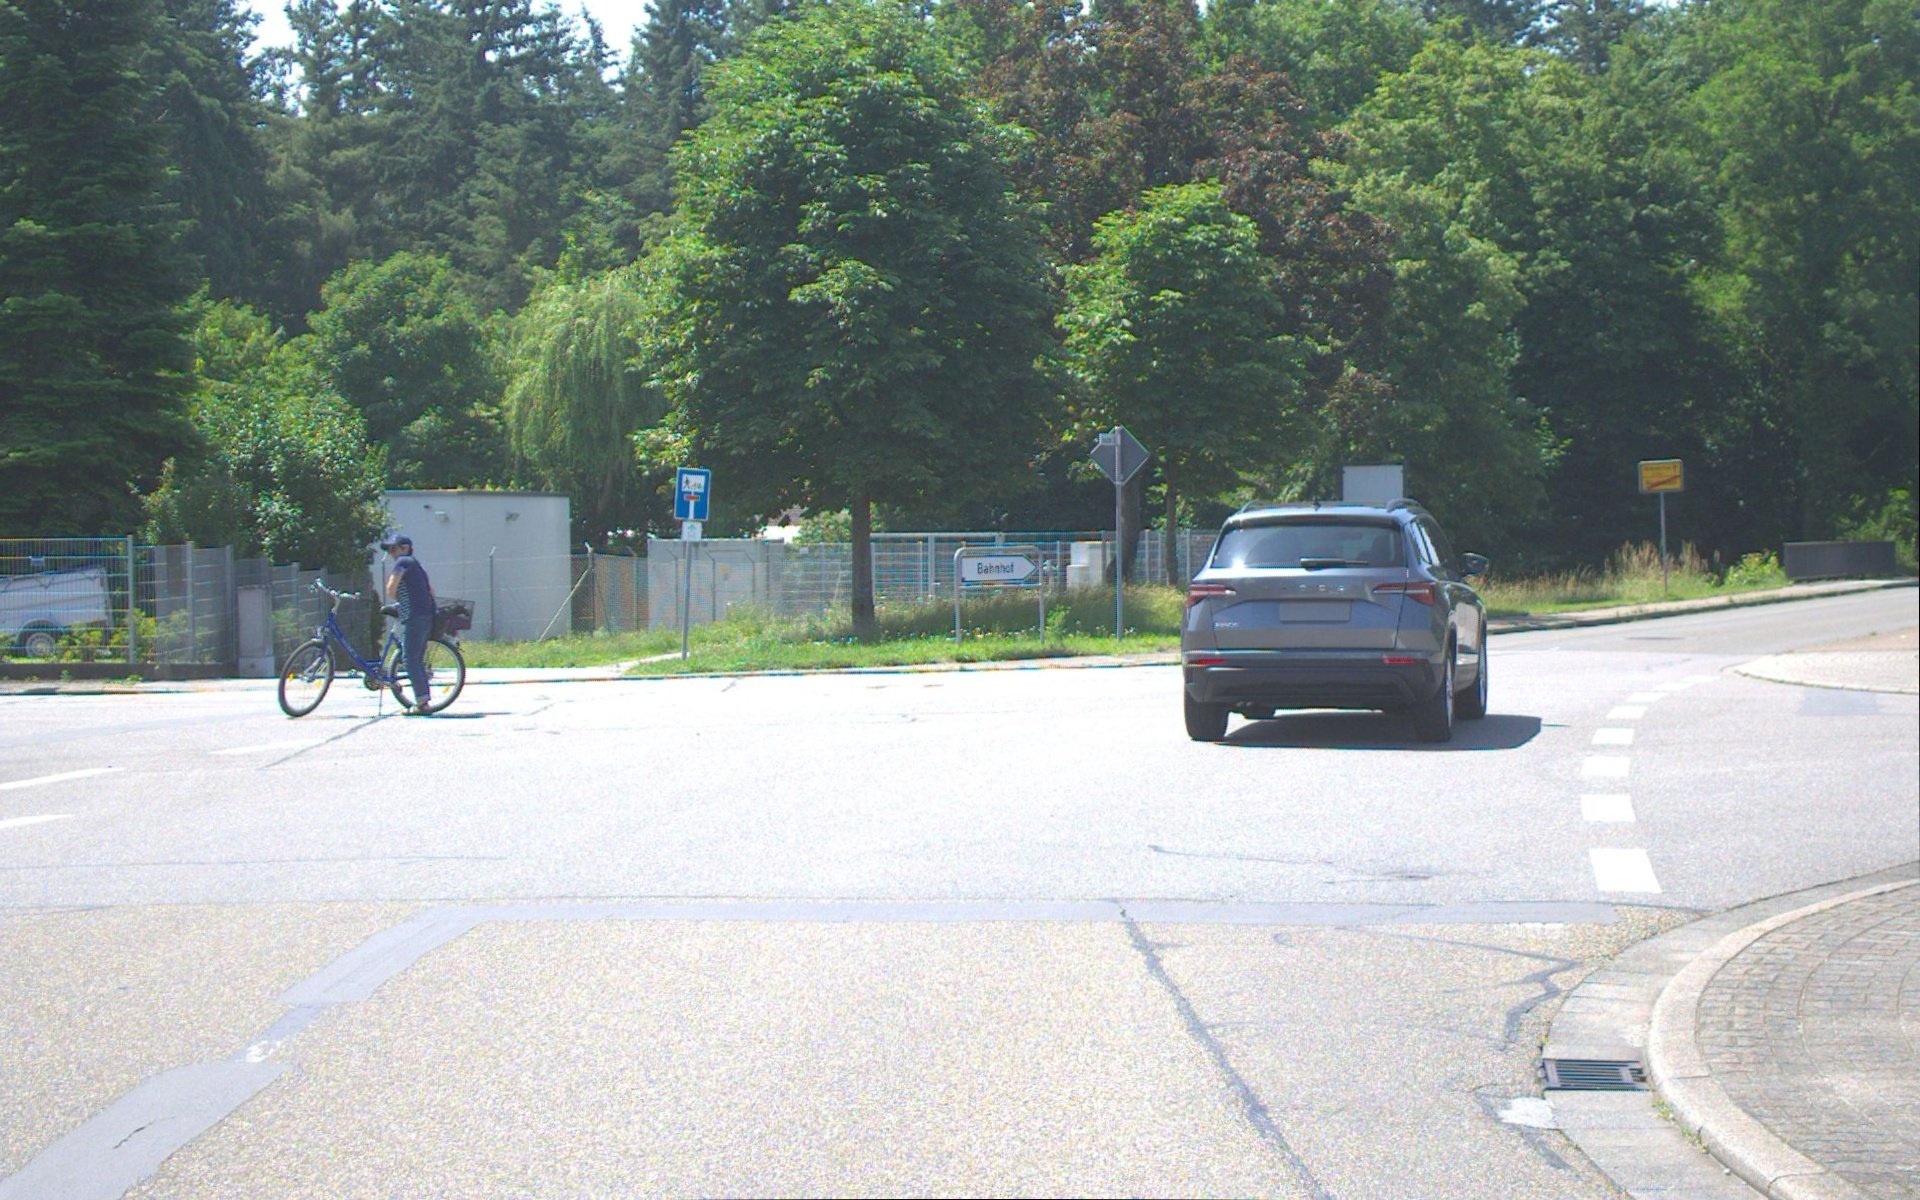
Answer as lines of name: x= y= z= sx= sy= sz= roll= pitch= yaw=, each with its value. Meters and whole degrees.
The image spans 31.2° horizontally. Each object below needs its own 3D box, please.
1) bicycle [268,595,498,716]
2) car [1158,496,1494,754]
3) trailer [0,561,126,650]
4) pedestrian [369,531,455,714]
bicycle: x=-4.824 y=0.452 z=28.773 sx=1.842 sy=0.960 sz=0.443 roll=-1 pitch=1 yaw=-20
car: x=2.634 y=0.123 z=23.957 sx=1.763 sy=1.612 sz=3.998 roll=1 pitch=1 yaw=14
trailer: x=-11.709 y=0.066 z=43.394 sx=2.214 sy=1.080 sz=1.106 roll=-1 pitch=1 yaw=-9
pedestrian: x=-4.524 y=0.178 z=28.357 sx=0.610 sy=1.495 sz=0.504 roll=-1 pitch=1 yaw=-19
